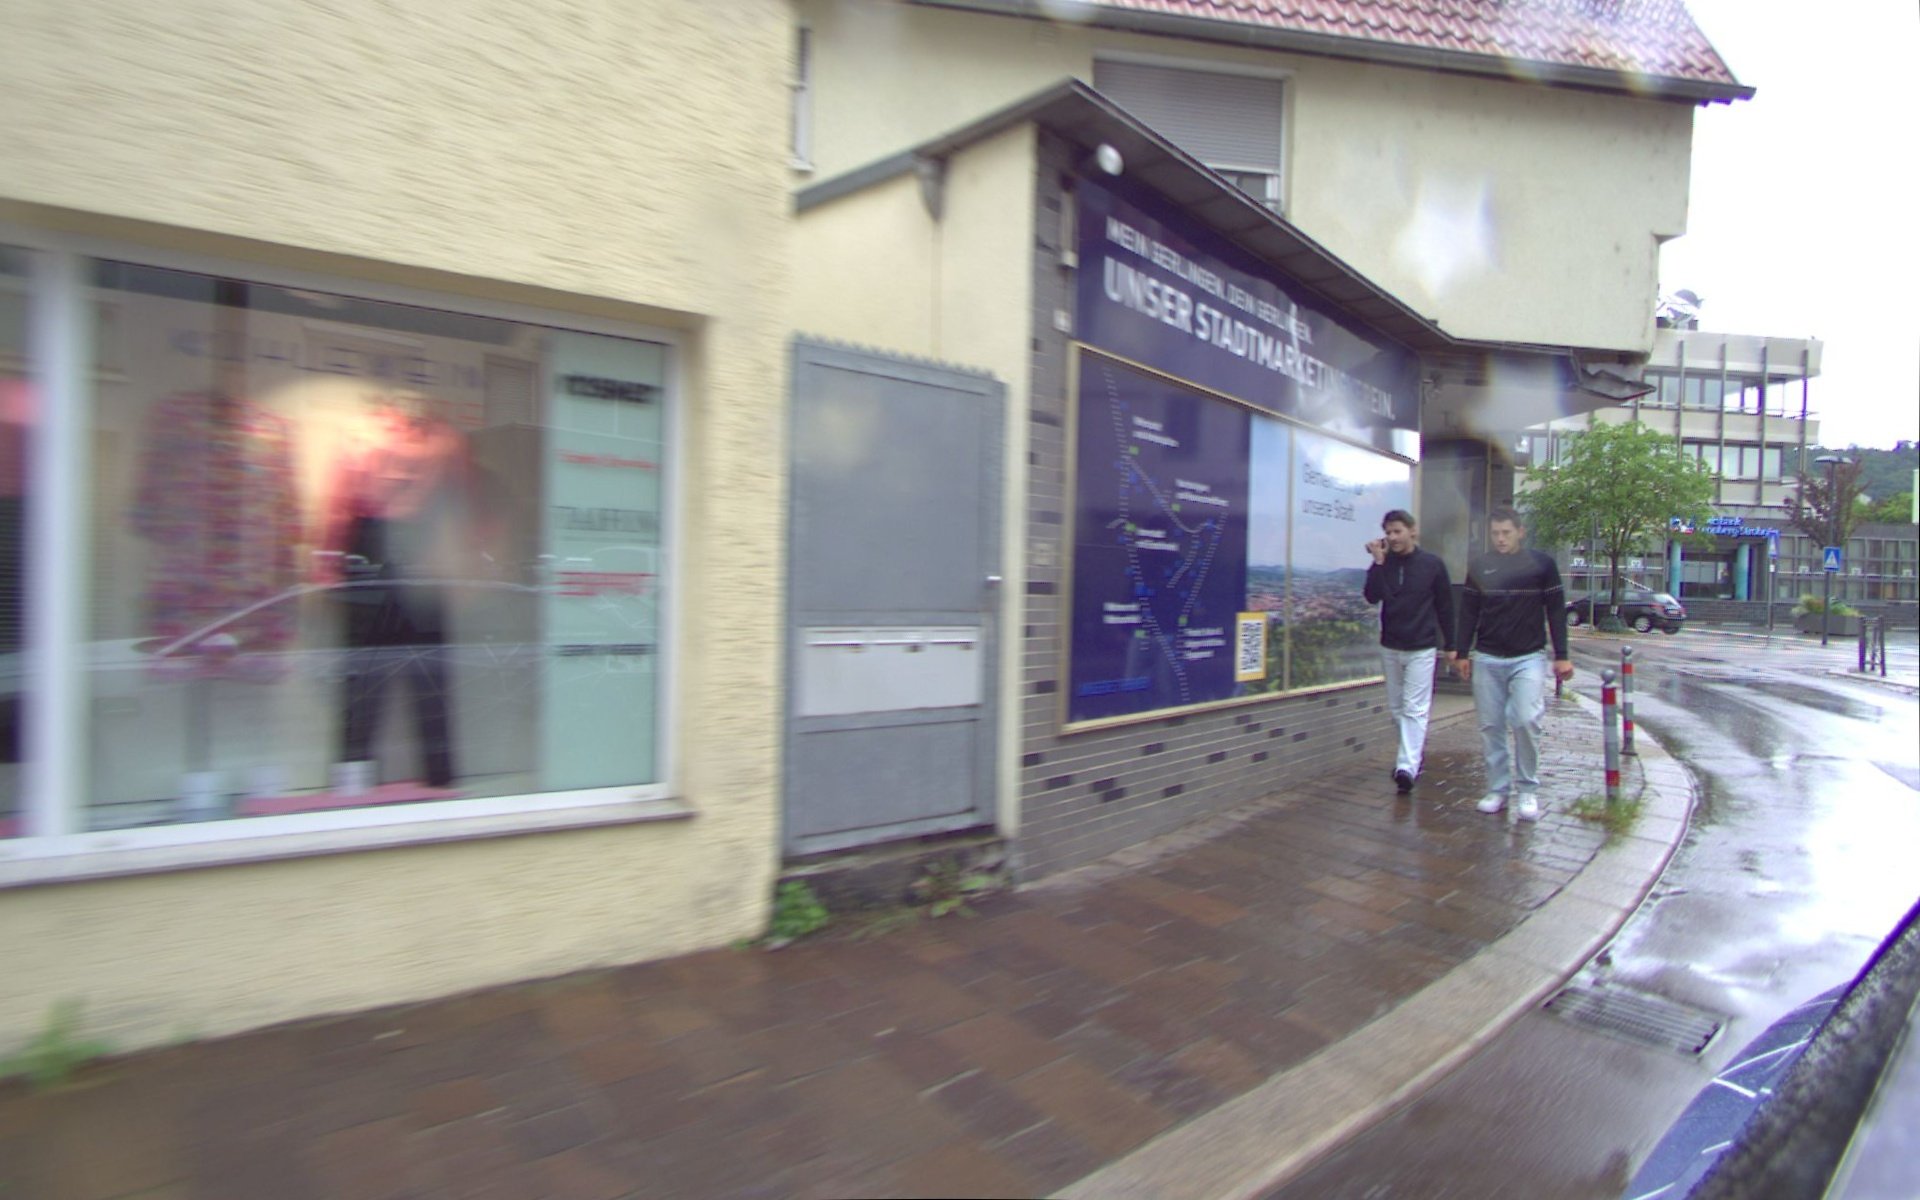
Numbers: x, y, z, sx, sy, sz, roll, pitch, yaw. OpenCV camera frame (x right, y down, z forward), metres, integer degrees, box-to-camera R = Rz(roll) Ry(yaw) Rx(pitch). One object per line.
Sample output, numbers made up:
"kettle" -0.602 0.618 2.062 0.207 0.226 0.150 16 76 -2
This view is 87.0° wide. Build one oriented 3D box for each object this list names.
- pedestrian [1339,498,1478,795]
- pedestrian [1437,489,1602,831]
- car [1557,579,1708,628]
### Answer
"pedestrian" 3.098 0.274 6.992 0.653 1.925 0.650 4 4 39
"pedestrian" 3.464 0.325 6.256 0.770 1.928 0.794 0 2 39
"car" 23.599 0.091 35.680 1.836 1.434 4.009 2 3 -25
